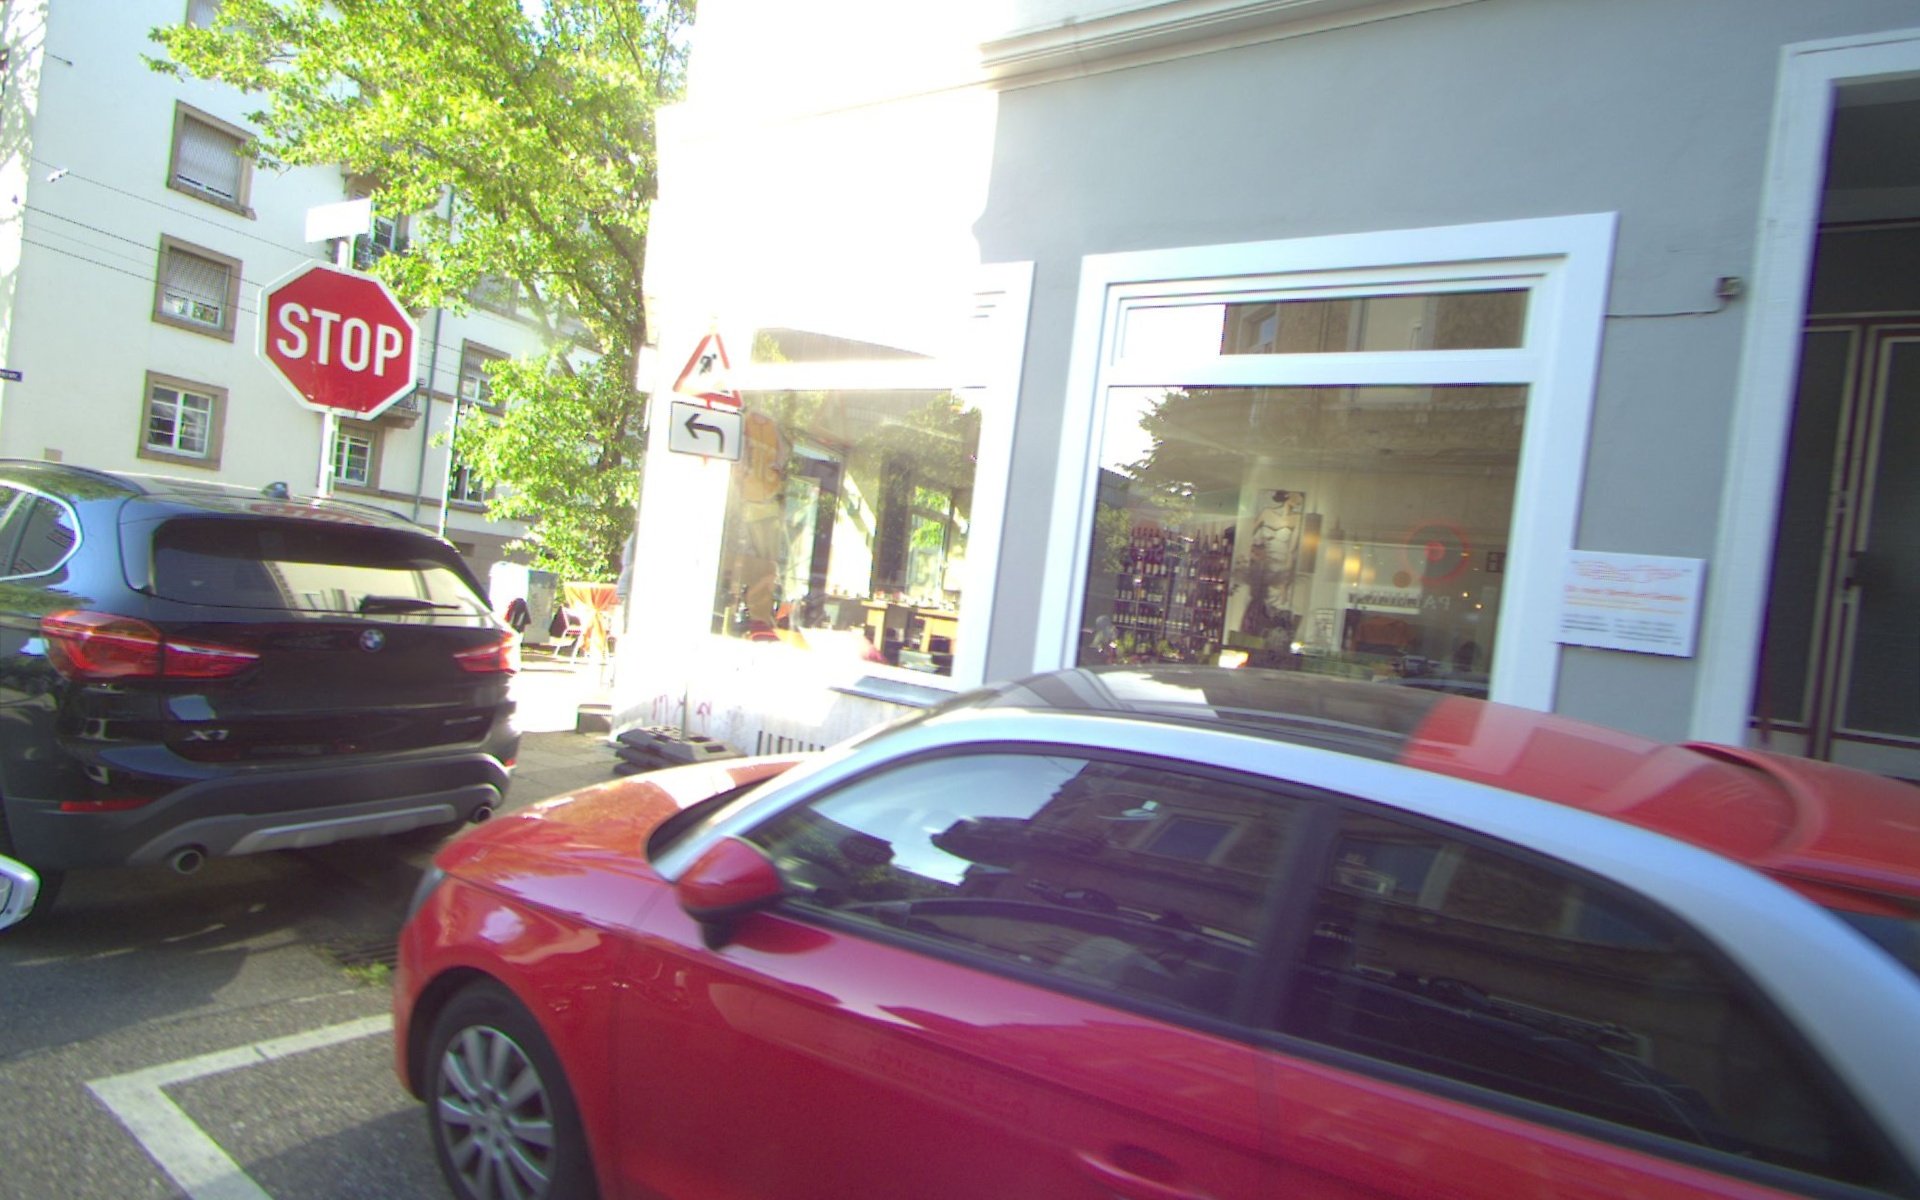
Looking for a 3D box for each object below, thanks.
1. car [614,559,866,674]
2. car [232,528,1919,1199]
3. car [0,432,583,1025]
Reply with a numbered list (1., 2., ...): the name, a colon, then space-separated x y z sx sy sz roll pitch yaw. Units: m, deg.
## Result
1. car: -3.888 0.281 18.182 4.058 1.576 1.619 6 1 1
2. car: 0.289 0.864 2.318 3.888 1.520 1.649 7 -1 31
3. car: -3.947 0.227 4.662 4.126 1.681 1.764 7 -1 30
